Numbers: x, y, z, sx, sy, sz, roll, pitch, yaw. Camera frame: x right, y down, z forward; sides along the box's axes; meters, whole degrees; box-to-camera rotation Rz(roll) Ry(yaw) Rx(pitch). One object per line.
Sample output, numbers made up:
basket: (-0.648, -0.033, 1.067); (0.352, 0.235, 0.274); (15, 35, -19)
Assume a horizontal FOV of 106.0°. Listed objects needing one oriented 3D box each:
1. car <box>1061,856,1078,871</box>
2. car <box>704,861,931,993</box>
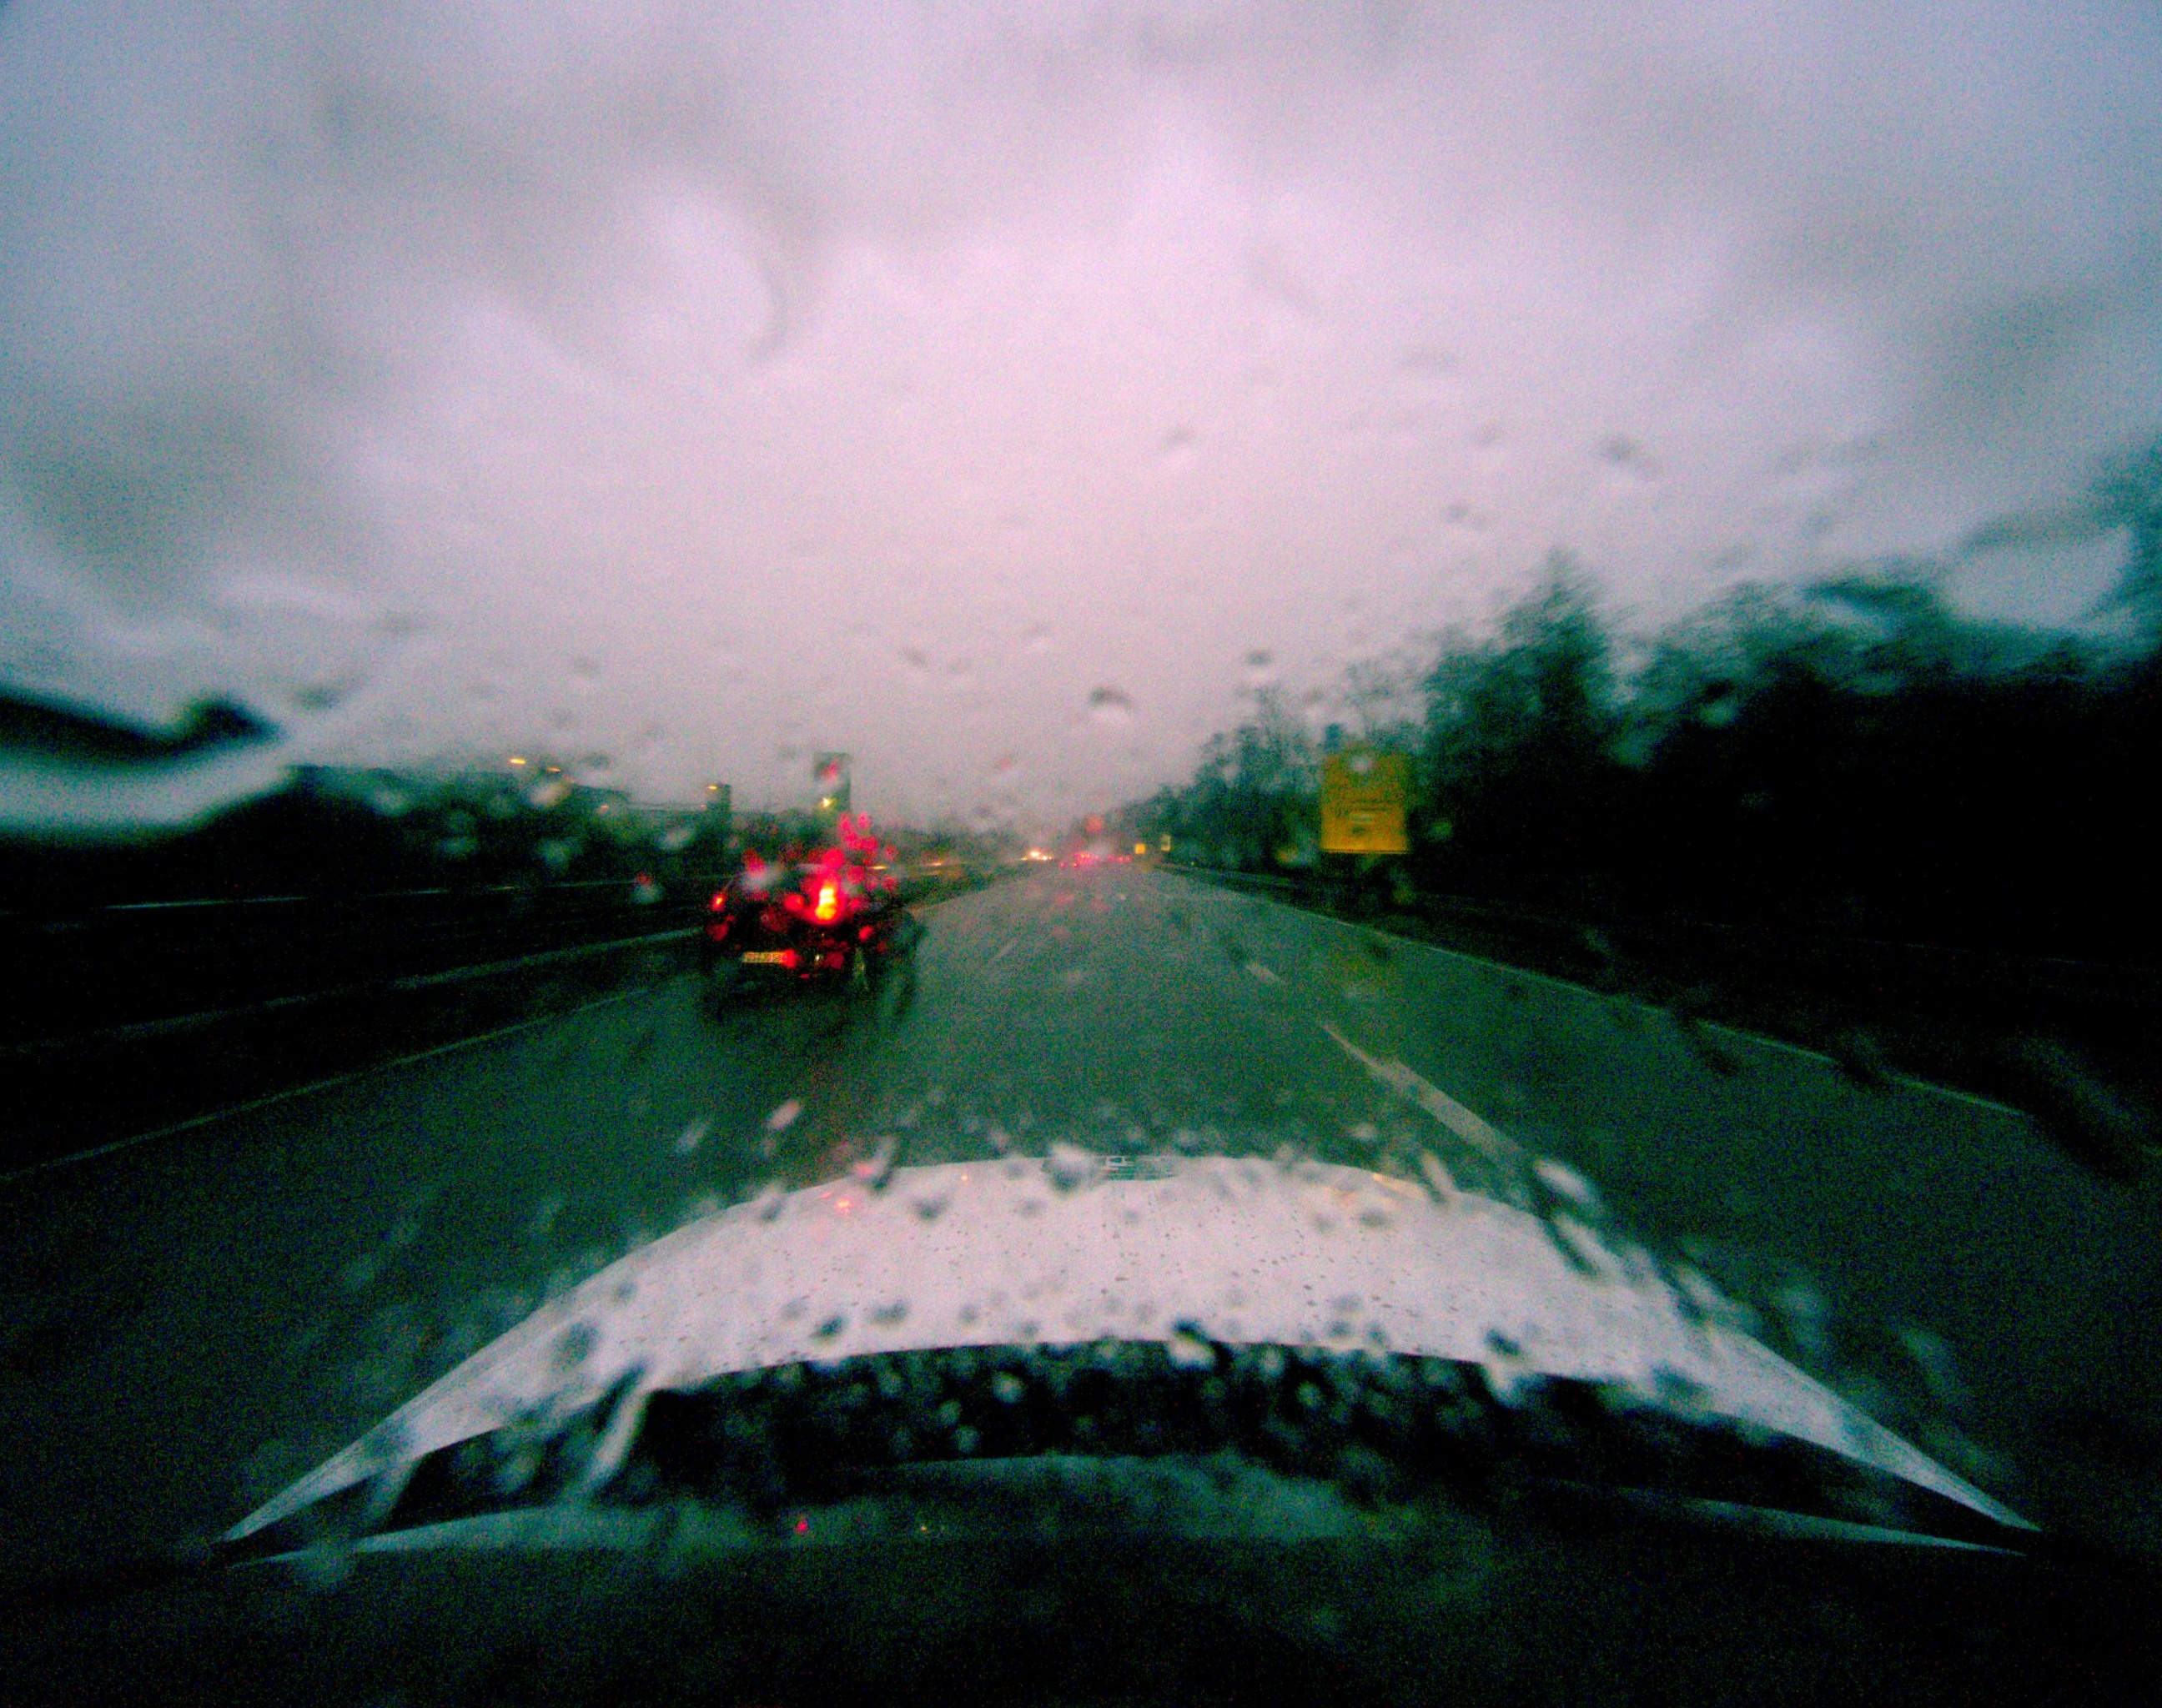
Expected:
car: (-1.096, 0.906, 78.895); (1.410, 1.317, 3.084); (1, 0, 2)
car: (-3.228, 0.804, 10.827); (1.620, 1.392, 4.000); (1, -1, 1)
